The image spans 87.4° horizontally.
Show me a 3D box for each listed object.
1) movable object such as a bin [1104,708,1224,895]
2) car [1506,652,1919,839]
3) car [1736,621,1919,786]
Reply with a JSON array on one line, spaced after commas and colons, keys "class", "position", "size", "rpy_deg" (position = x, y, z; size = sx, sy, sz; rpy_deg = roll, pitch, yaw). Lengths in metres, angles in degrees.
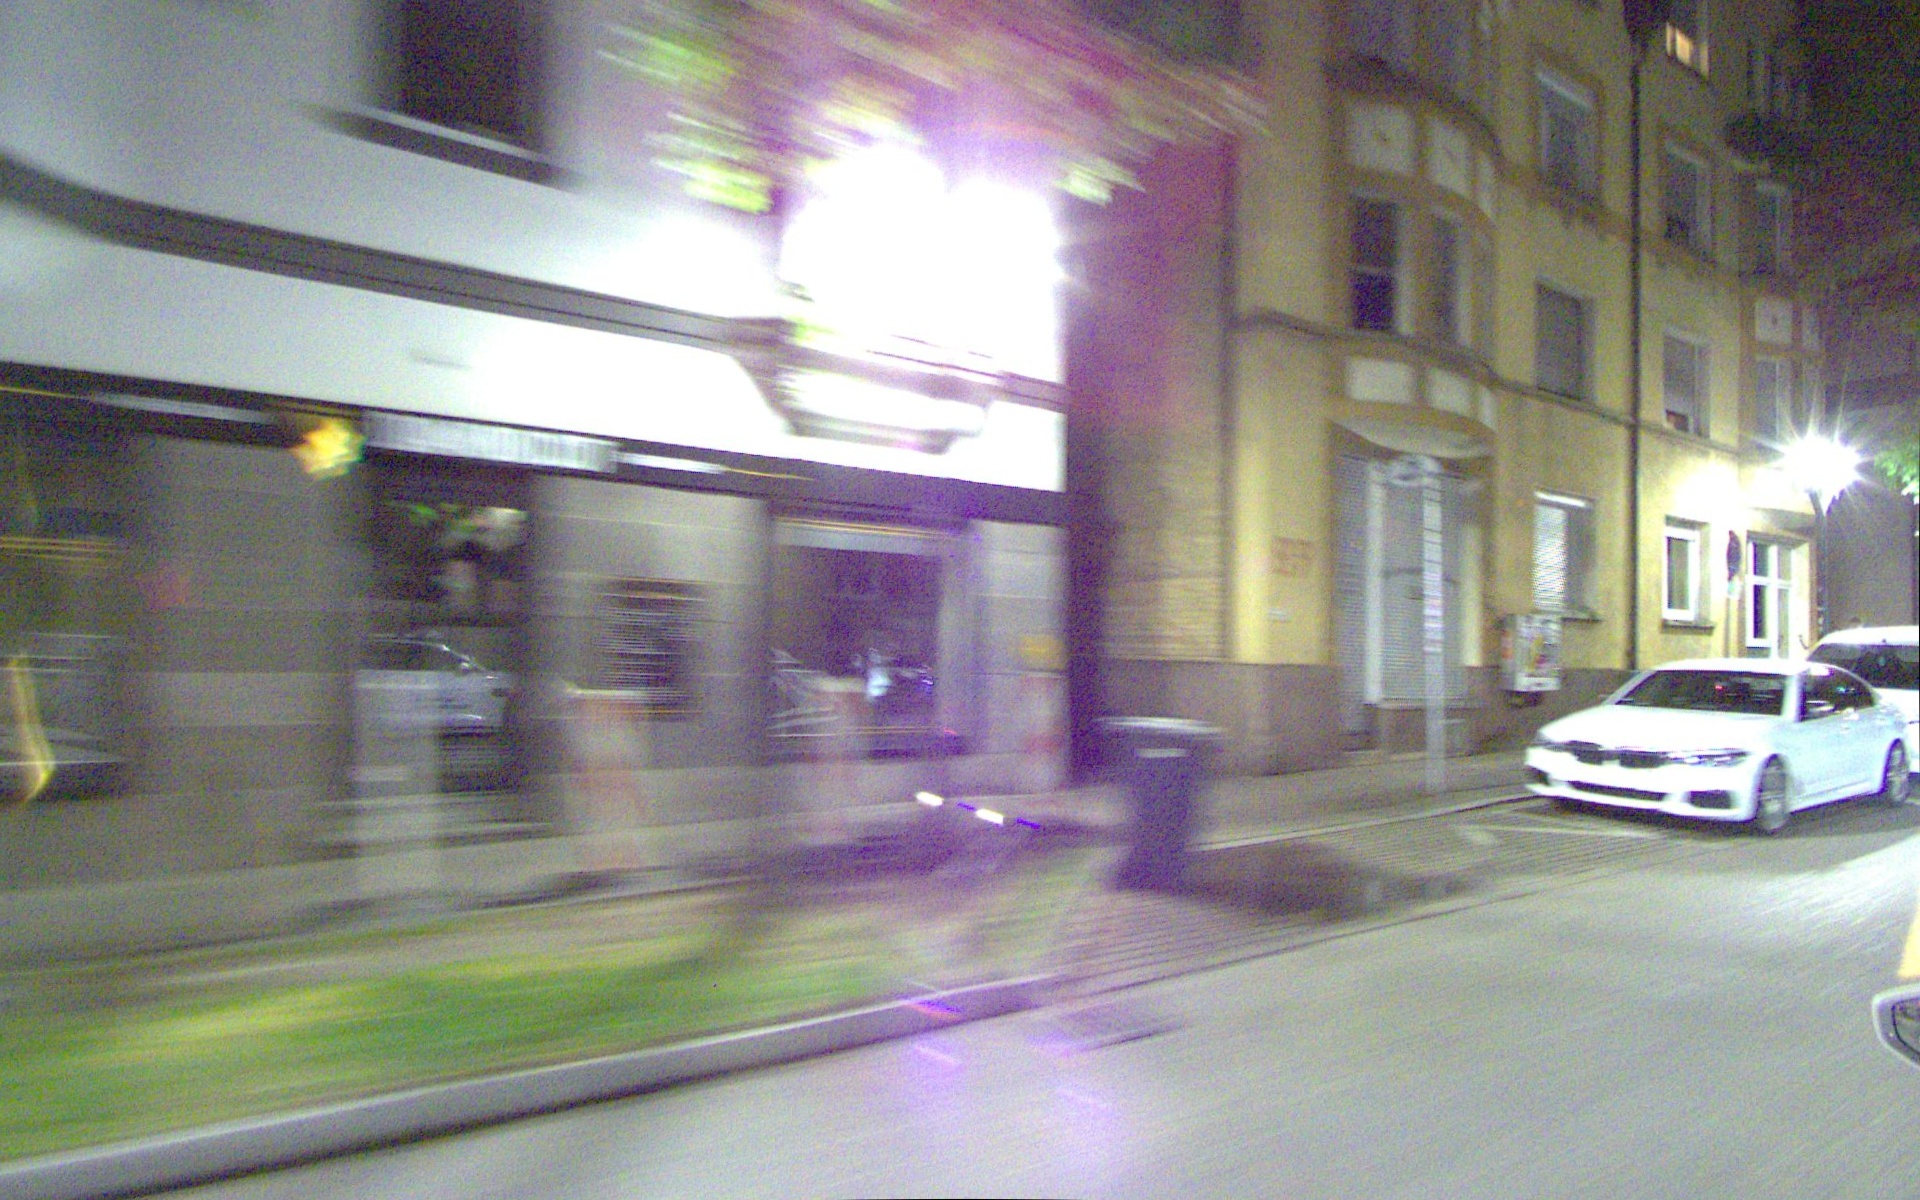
[{"class": "movable object such as a bin", "position": [1.344, 1.274, 6.551], "size": [0.676, 1.063, 0.626], "rpy_deg": [1, -2, 18]}, {"class": "car", "position": [7.826, 1.307, 10.228], "size": [4.826, 1.469, 1.830], "rpy_deg": [2, -2, -31]}, {"class": "car", "position": [12.458, 1.258, 13.412], "size": [4.763, 1.867, 1.872], "rpy_deg": [2, -2, -33]}]
